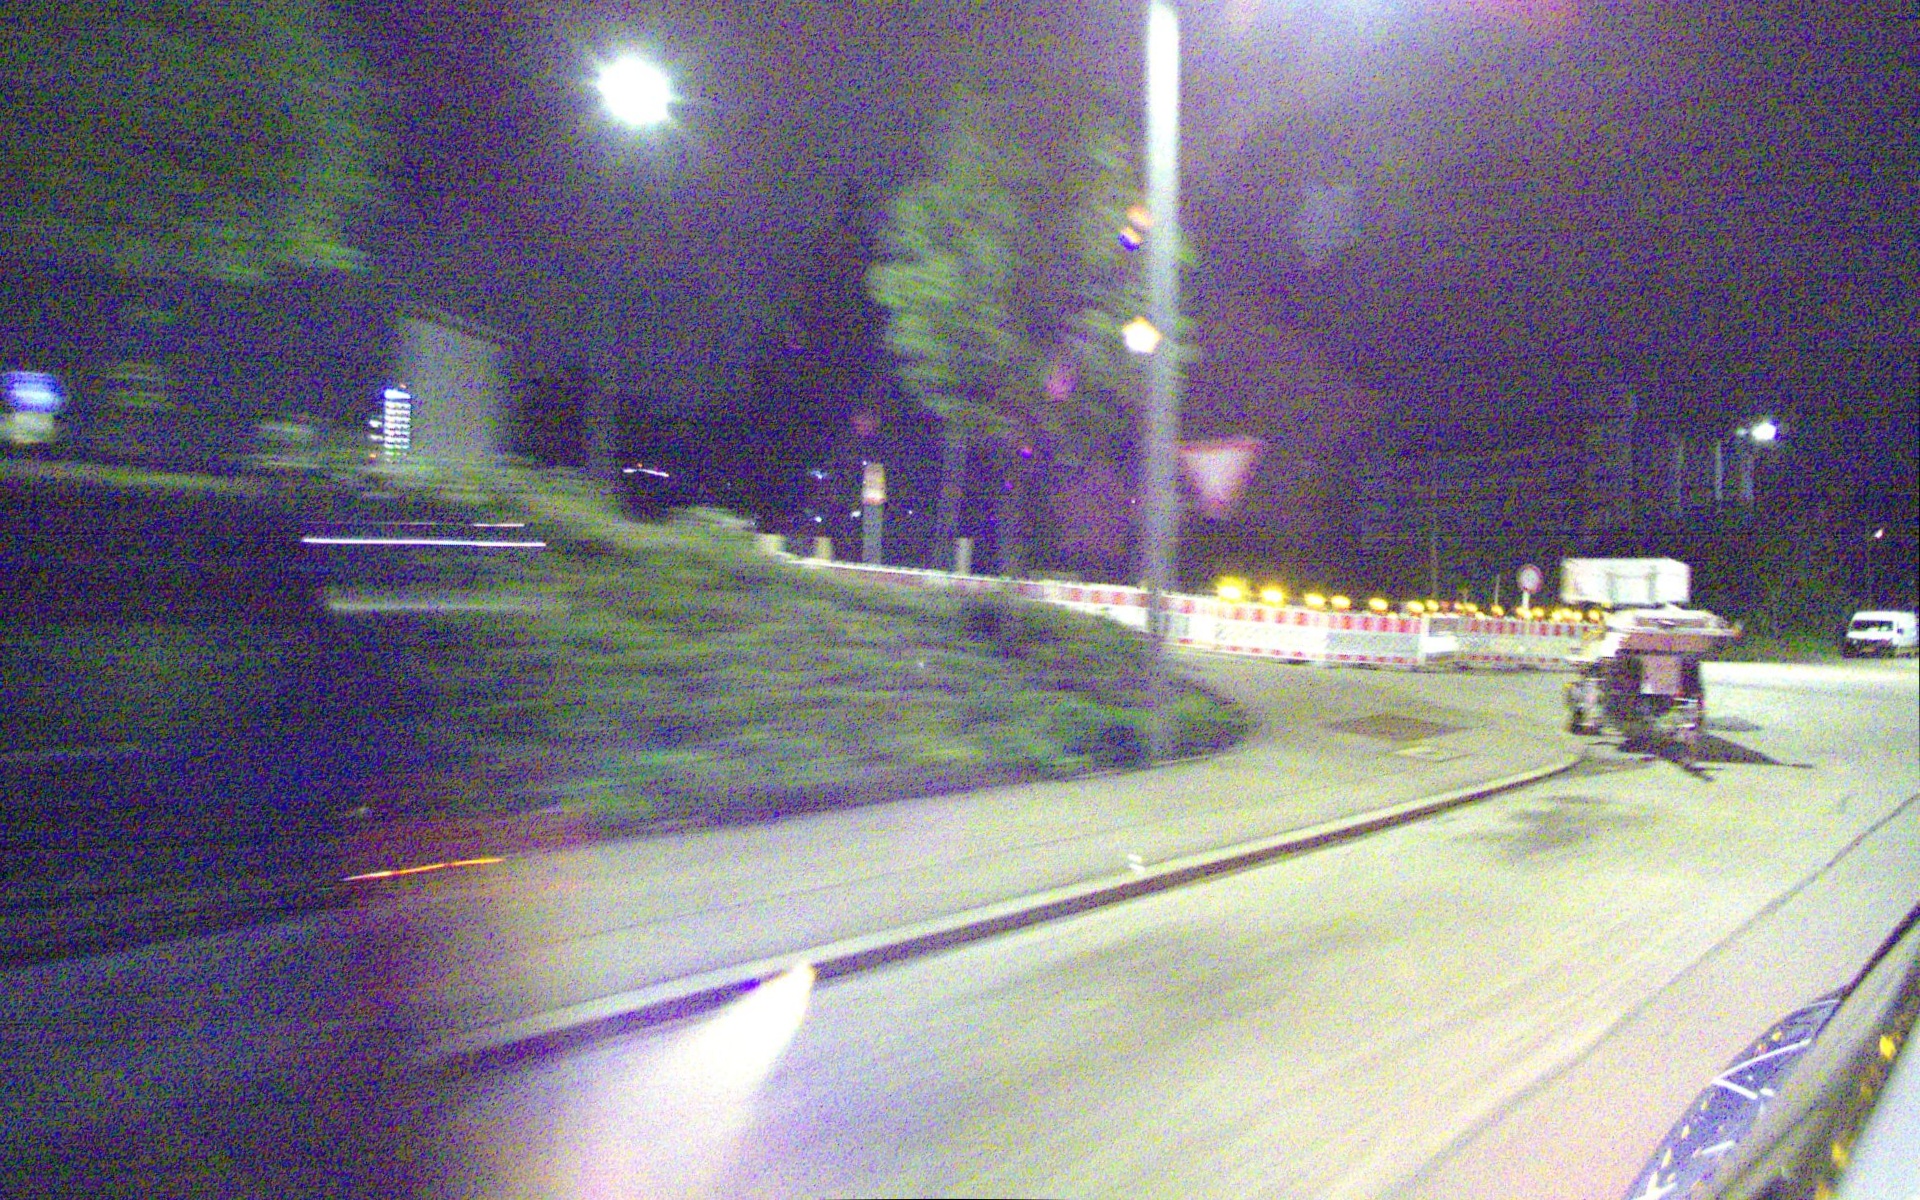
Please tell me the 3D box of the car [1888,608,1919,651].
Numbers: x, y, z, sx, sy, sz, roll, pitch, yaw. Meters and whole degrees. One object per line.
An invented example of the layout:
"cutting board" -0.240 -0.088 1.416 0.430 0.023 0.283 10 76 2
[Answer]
"car" 55.636 1.686 58.948 3.929 2.417 1.863 1 -1 -40

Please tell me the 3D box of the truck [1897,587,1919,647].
"truck" 62.444 1.058 64.590 9.436 3.669 3.052 1 0 -42

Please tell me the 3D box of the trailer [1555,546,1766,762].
"trailer" 8.090 0.515 12.074 1.481 2.039 4.936 0 0 28

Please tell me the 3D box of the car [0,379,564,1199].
"car" -2.935 0.595 1.267 4.239 1.802 1.732 0 -1 -40

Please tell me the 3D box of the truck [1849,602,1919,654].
"truck" 49.238 1.423 53.458 6.290 2.603 2.405 1 0 -39
